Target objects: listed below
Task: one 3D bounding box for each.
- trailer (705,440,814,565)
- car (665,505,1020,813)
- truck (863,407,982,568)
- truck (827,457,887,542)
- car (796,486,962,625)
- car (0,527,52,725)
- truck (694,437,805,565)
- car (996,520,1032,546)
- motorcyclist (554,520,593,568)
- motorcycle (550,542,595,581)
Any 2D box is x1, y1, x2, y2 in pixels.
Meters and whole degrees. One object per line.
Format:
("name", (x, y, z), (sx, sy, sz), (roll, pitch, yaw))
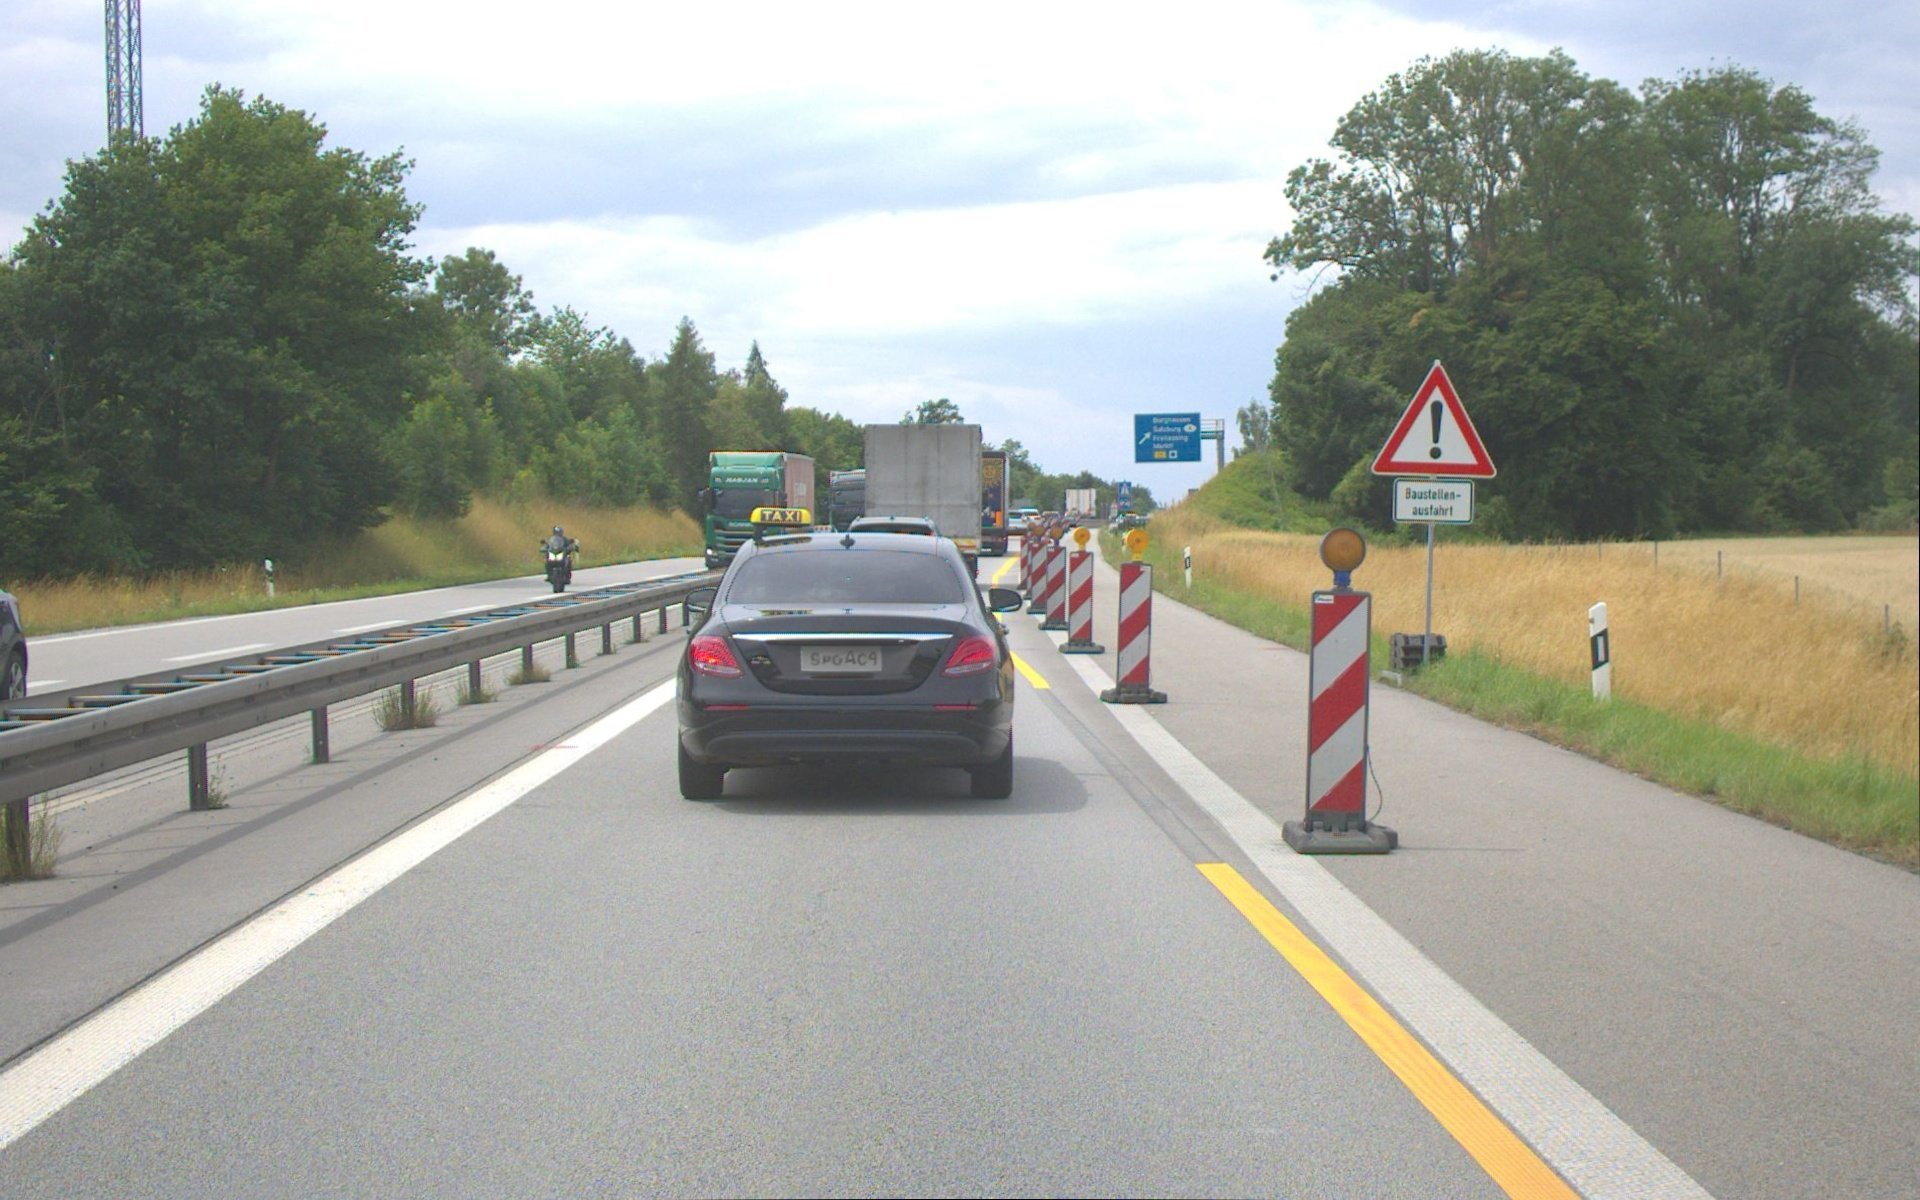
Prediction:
("trailer", (-7.032, -3.376, 122.367), (3.150, 4.198, 11.643), (1, 1, 0))
("car", (-0.675, 0.283, 19.637), (1.795, 1.554, 4.000), (1, 1, -2))
("truck", (-0.891, -2.518, 78.279), (2.586, 3.512, 4.813), (1, 1, -1))
("truck", (-5.258, -5.101, 176.093), (2.640, 4.156, 6.985), (1, 1, 1))
("car", (-1.287, -0.679, 52.559), (1.993, 2.007, 4.001), (1, 1, -9))
("car", (-9.104, 0.211, 28.697), (1.993, 1.678, 4.234), (1, 1, -1))
("truck", (-7.115, -3.302, 116.904), (3.123, 4.198, 6.781), (1, 1, 2))
("car", (2.977, -3.688, 190.711), (1.649, 1.391, 3.706), (1, 1, -4))
("motorcyclist", (-9.784, -1.413, 87.010), (0.861, 1.205, 0.961), (1, 0, -1))
("motorcycle", (-9.798, -0.987, 87.094), (0.855, 0.931, 2.725), (1, 1, -1))
